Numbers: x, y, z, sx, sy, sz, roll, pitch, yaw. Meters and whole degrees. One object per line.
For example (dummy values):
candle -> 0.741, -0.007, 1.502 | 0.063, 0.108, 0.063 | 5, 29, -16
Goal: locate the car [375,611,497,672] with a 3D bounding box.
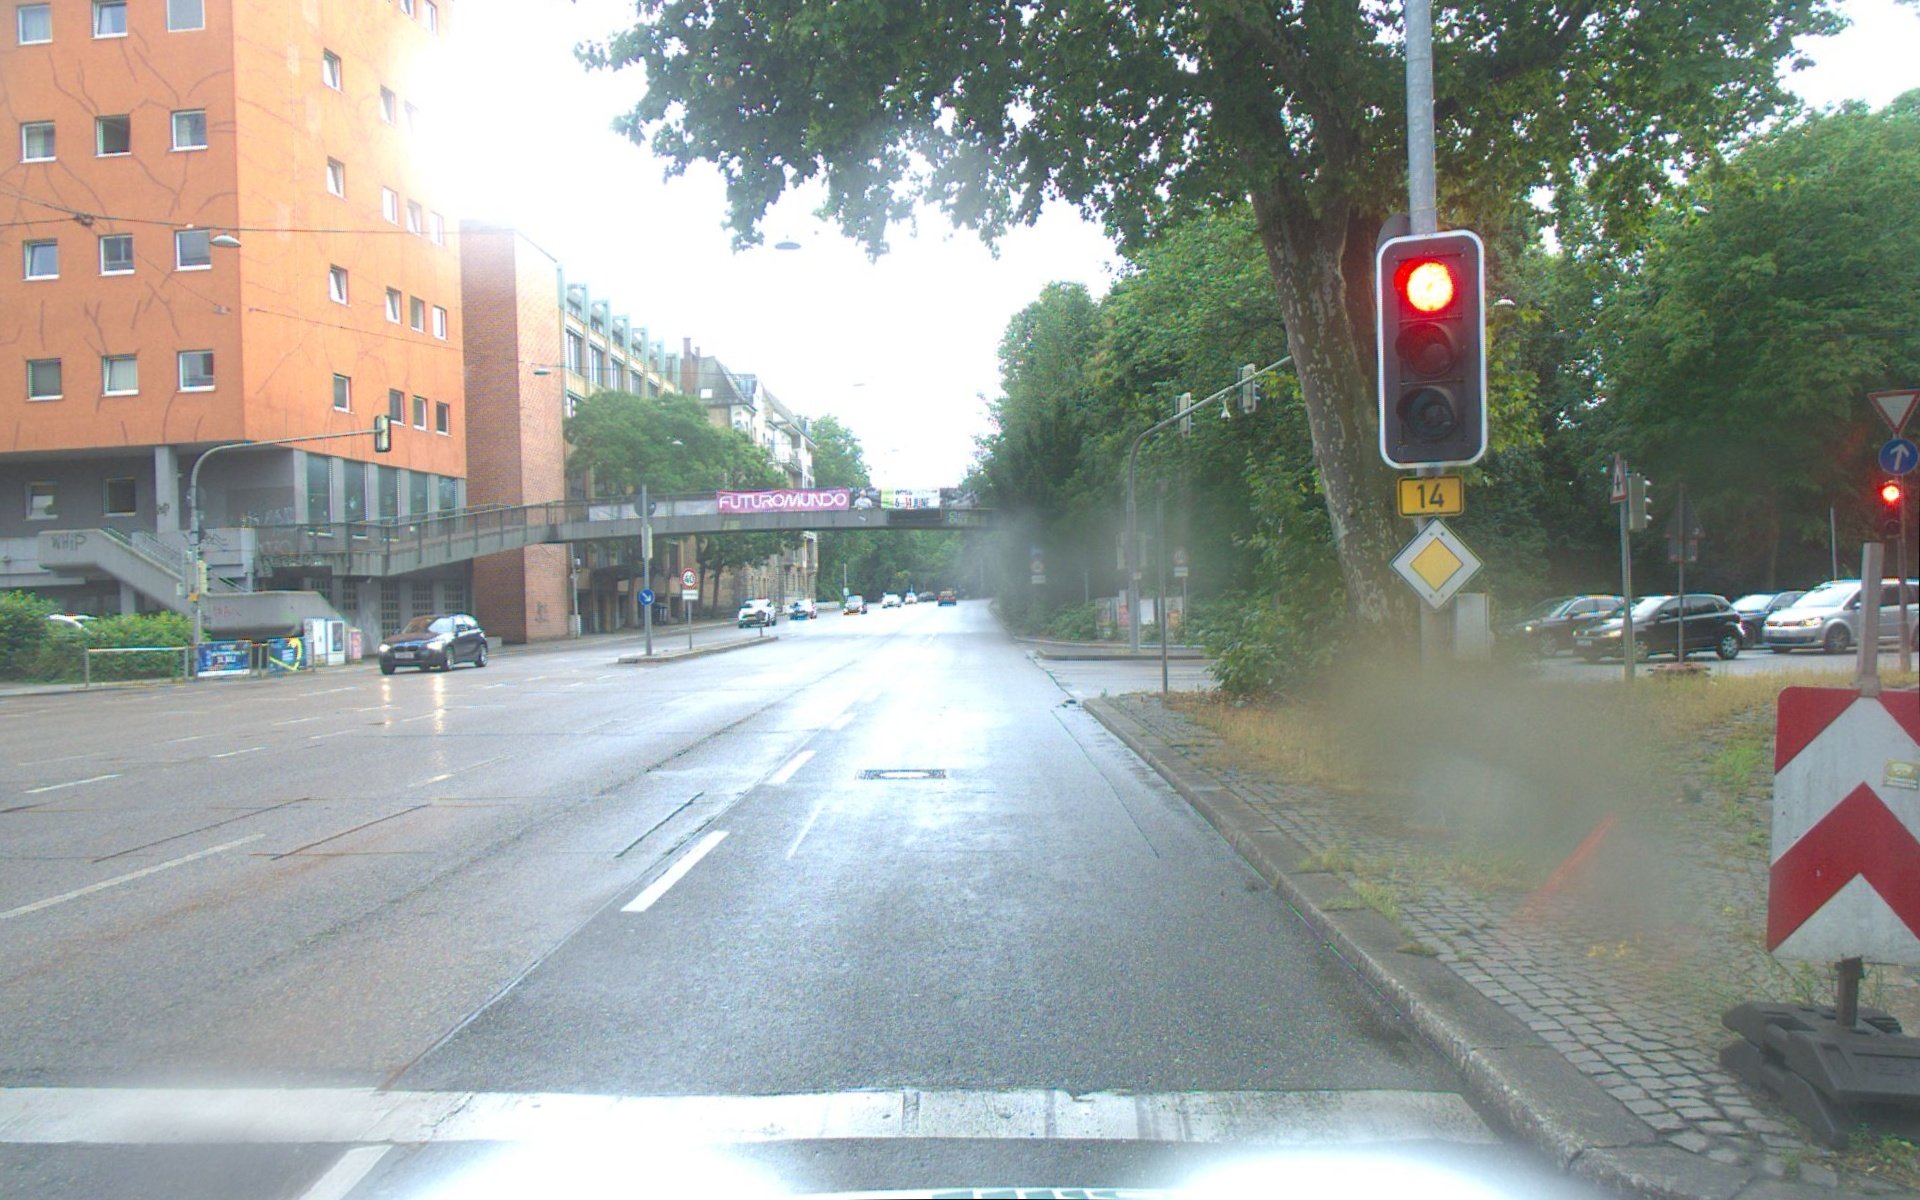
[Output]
car -> -13.490, 1.050, 42.835 | 1.651, 1.444, 4.215 | -2, -1, 2

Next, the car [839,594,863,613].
car -> -8.817, 0.326, 134.258 | 1.648, 1.461, 3.862 | -2, 0, 0

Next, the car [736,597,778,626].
car -> -12.220, 0.700, 99.820 | 1.850, 1.638, 4.457 | -1, 0, 2

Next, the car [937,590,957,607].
car -> -1.338, -0.120, 169.154 | 1.964, 1.672, 4.374 | -1, 0, -2

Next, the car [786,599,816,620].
car -> -11.830, 0.700, 123.434 | 1.673, 1.490, 4.042 | -2, 0, 2

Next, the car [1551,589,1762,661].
car -> 15.370, 0.557, 36.521 | 4.119, 1.486, 1.785 | 1, 0, -17

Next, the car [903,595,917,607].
car -> -6.563, 0.141, 216.056 | 1.568, 1.525, 3.712 | -3, 0, 1

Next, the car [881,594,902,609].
car -> -7.014, 0.199, 169.421 | 1.793, 1.418, 4.405 | -3, 0, 1

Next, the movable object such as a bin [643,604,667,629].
movable object such as a bin -> -19.700, 1.062, 106.805 | 1.256, 1.545, 1.273 | -1, 0, 1

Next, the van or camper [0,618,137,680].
van or camper -> -25.924, 1.395, 47.188 | 3.902, 1.656, 1.915 | -1, 0, 5

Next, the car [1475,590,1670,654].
car -> 14.906, 0.529, 40.285 | 4.131, 1.466, 1.941 | 1, 0, -17

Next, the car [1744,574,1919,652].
car -> 20.655, 0.317, 38.530 | 4.129, 1.709, 1.898 | 1, 0, -17

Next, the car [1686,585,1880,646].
car -> 20.856, 0.394, 41.942 | 4.361, 1.427, 1.821 | 1, 0, -17
